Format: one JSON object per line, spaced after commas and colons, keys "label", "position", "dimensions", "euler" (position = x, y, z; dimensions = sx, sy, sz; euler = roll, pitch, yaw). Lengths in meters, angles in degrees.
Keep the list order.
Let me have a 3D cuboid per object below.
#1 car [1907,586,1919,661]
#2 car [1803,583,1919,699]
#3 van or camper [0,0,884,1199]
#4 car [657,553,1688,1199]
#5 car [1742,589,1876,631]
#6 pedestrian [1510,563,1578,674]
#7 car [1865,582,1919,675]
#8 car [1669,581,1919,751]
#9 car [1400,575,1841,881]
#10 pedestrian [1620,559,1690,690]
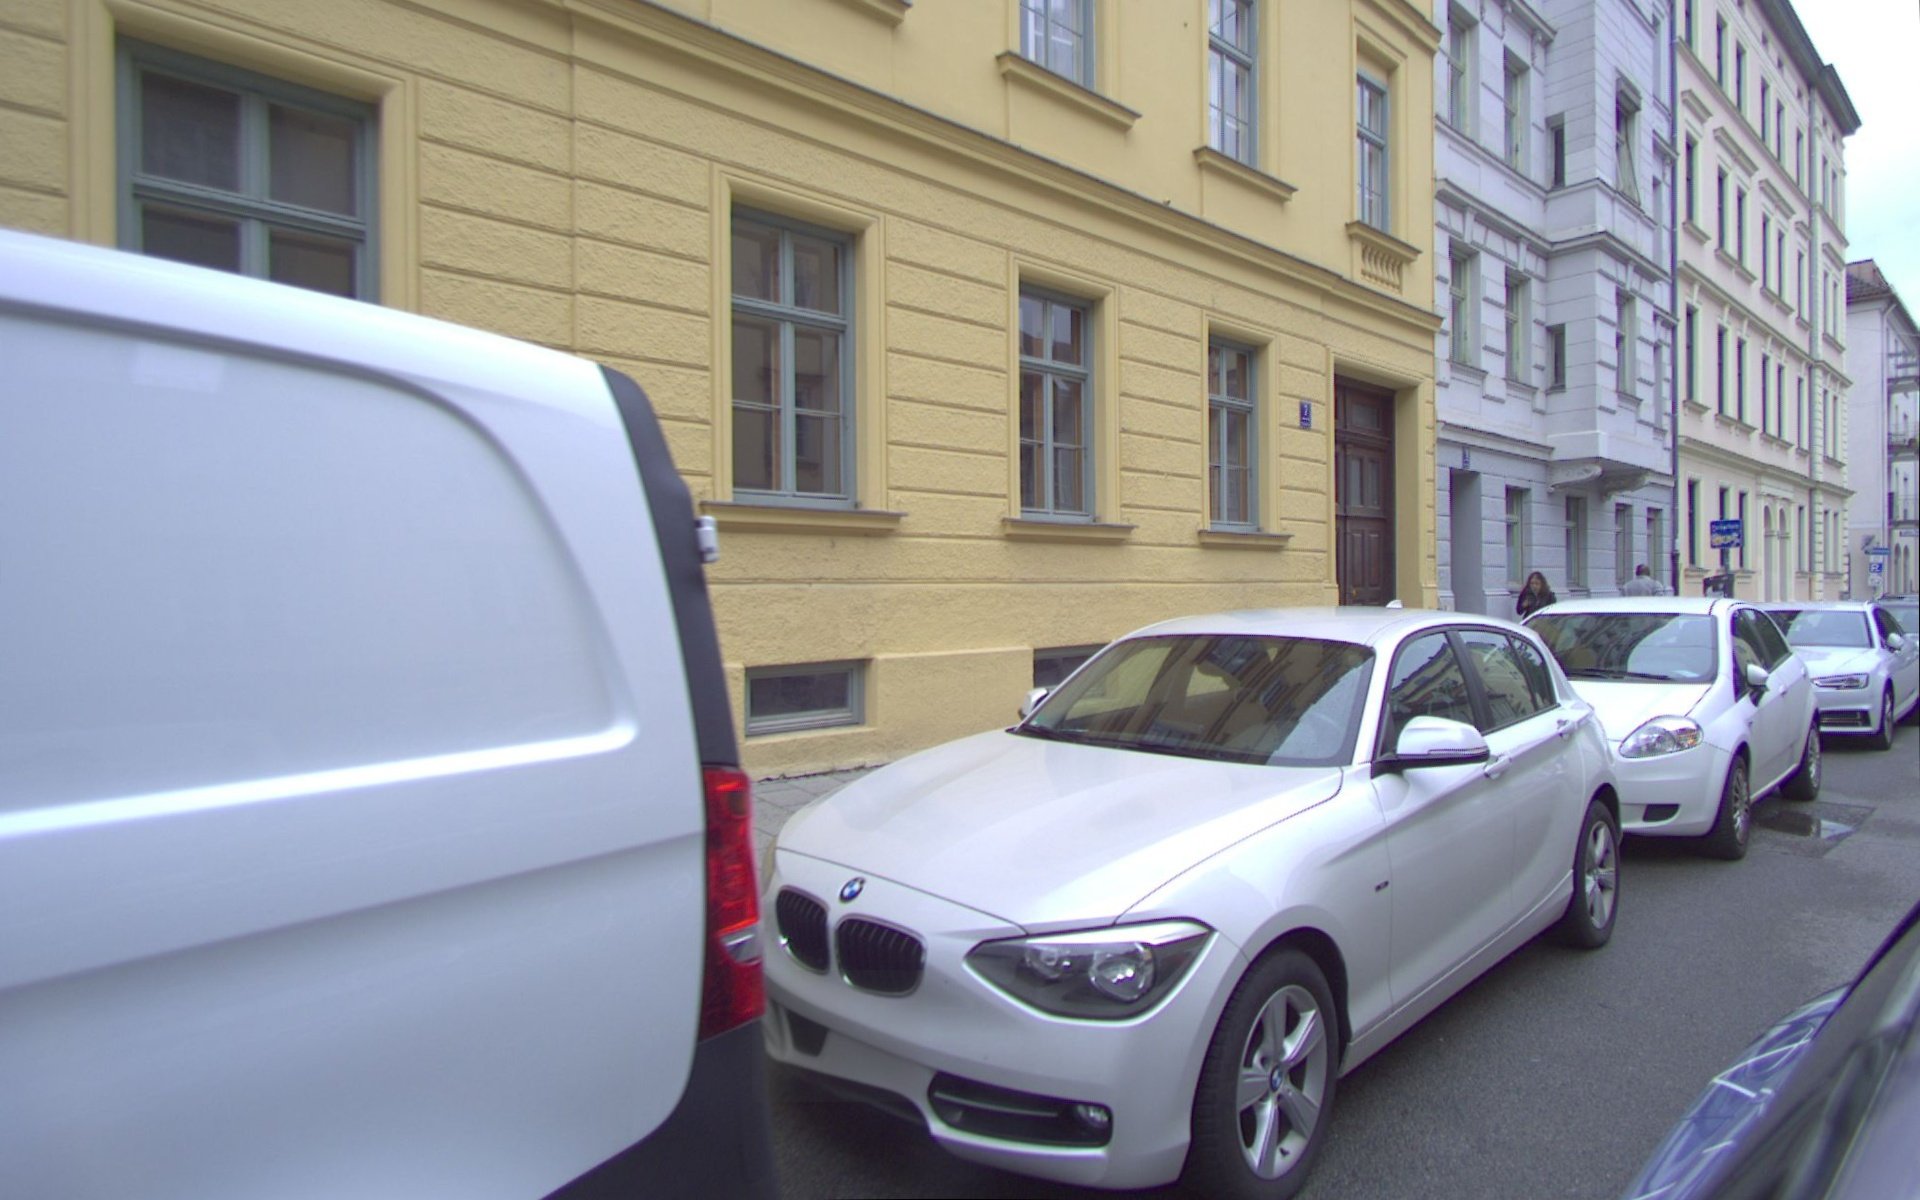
{"label": "car", "position": [22.197, 0.496, 22.129], "dimensions": [4.070, 1.586, 1.720], "euler": [0, 1, -40]}
{"label": "car", "position": [13.754, 0.518, 14.841], "dimensions": [3.871, 1.529, 1.718], "euler": [-1, 1, -44]}
{"label": "van or camper", "position": [-2.684, 0.384, 0.570], "dimensions": [5.143, 2.039, 1.996], "euler": [0, 1, -42]}
{"label": "car", "position": [1.297, 0.650, 4.073], "dimensions": [4.510, 1.529, 1.818], "euler": [-1, 1, -43]}
{"label": "car", "position": [34.276, 0.374, 40.907], "dimensions": [1.684, 1.585, 3.991], "euler": [0, 1, -43]}
{"label": "pedestrian", "position": [8.720, 0.260, 15.111], "dimensions": [0.614, 1.594, 0.646], "euler": [0, 3, -40]}
{"label": "car", "position": [18.393, 0.486, 18.958], "dimensions": [4.249, 1.621, 1.719], "euler": [0, 1, -42]}
{"label": "car", "position": [9.504, 0.563, 11.185], "dimensions": [4.391, 1.529, 1.720], "euler": [0, 1, -41]}
{"label": "car", "position": [4.643, 0.615, 6.911], "dimensions": [3.697, 1.529, 1.626], "euler": [0, 1, -42]}
{"label": "pedestrian", "position": [10.380, 0.353, 15.110], "dimensions": [0.791, 1.886, 0.702], "euler": [0, 0, -43]}
